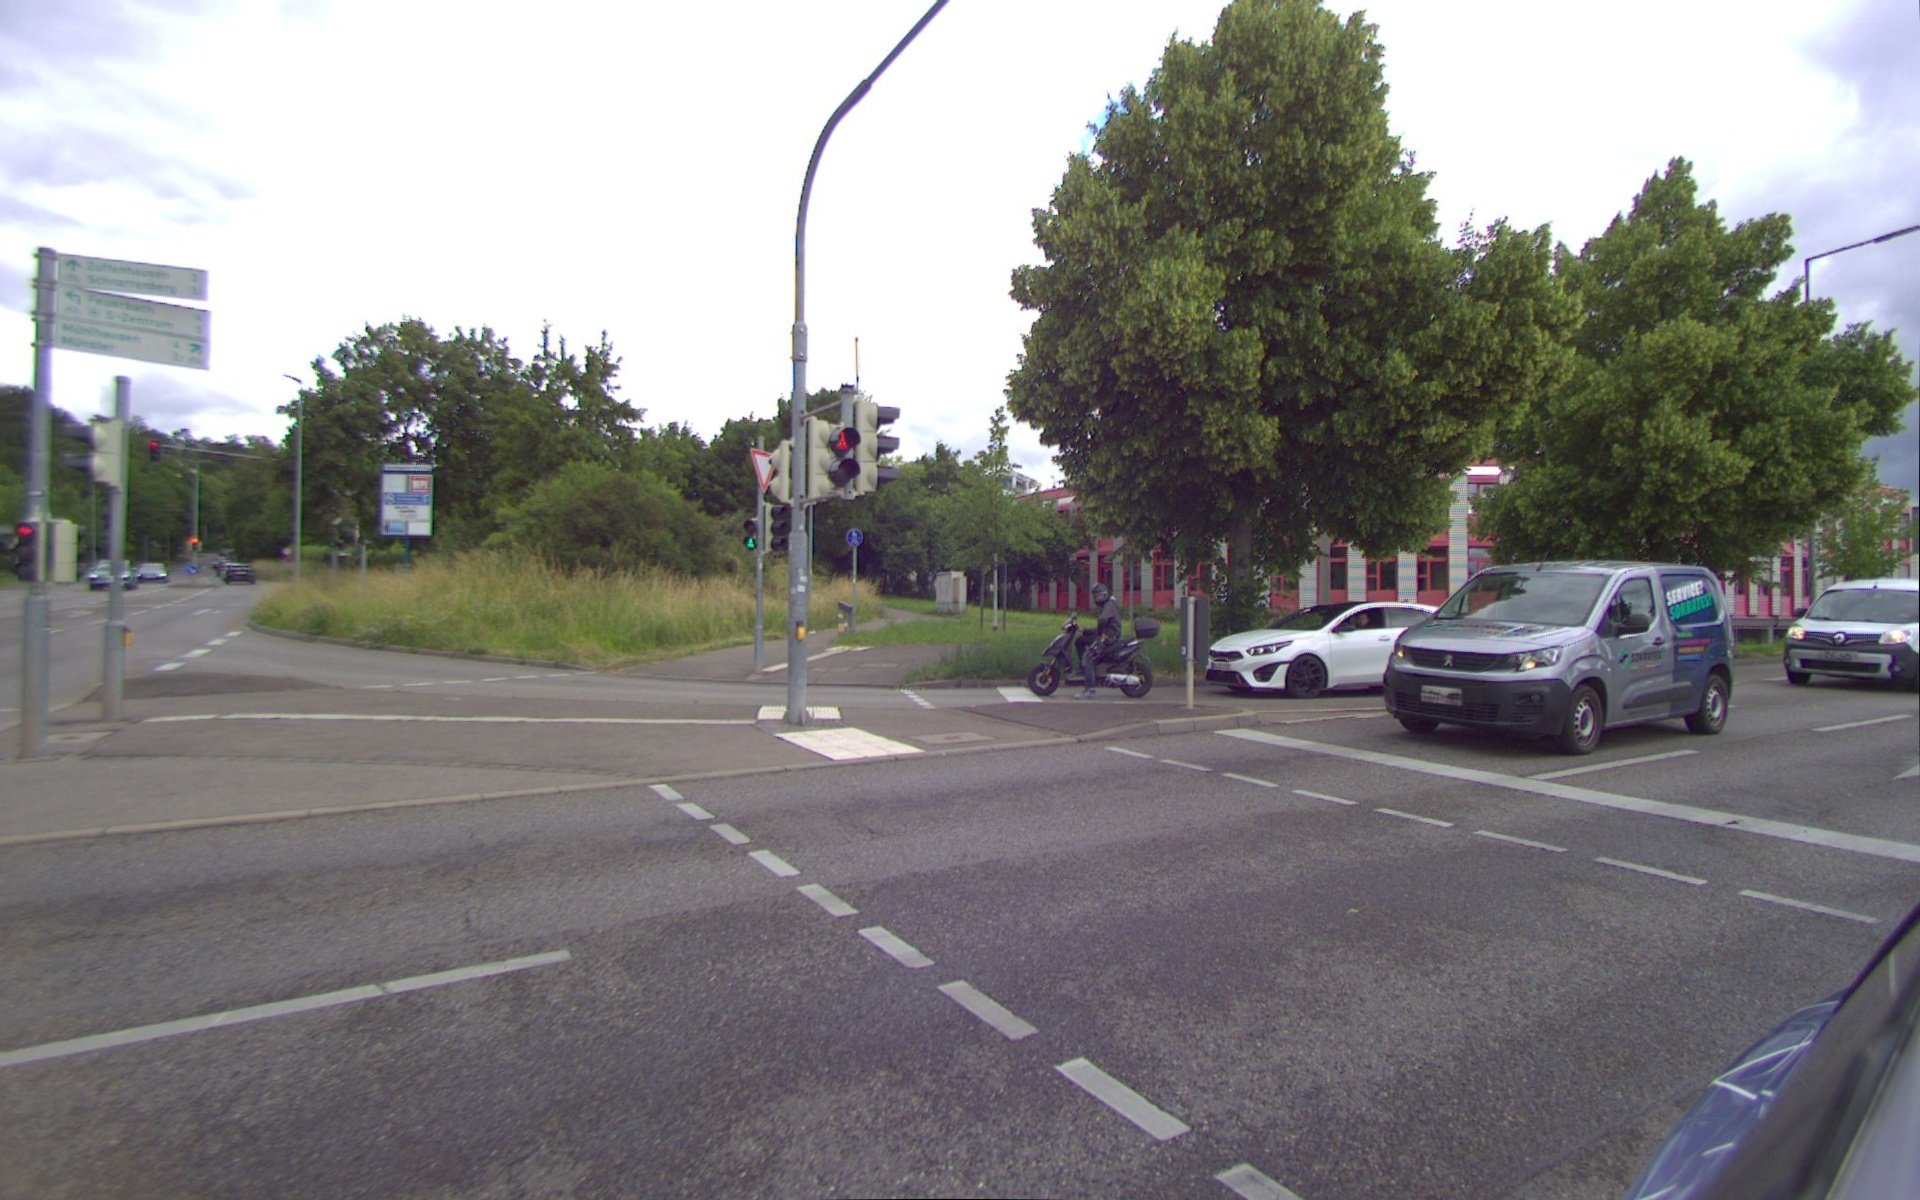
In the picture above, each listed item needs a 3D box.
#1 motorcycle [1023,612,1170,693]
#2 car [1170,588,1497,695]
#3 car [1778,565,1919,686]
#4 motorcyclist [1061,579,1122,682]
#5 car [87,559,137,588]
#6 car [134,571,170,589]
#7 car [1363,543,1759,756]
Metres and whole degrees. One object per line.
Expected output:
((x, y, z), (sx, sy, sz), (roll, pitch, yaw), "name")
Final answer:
((1.931, 0.737, 14.579), (2.032, 1.104, 0.759), (1, 0, 3), "motorcycle")
((5.650, 0.564, 15.418), (4.419, 1.438, 1.839), (-1, -1, -17), "car")
((15.976, 0.399, 17.142), (4.603, 1.814, 1.816), (1, 1, -31), "car")
((1.881, 0.420, 14.583), (0.802, 1.439, 0.759), (0, 0, 3), "motorcyclist")
((-47.879, -1.509, 57.206), (1.604, 1.595, 3.870), (0, 2, -32), "car")
((-60.230, -1.485, 75.475), (1.604, 1.309, 3.870), (0, 2, -32), "car")
((6.263, 0.381, 10.443), (4.139, 1.802, 1.816), (0, 2, -32), "car")
